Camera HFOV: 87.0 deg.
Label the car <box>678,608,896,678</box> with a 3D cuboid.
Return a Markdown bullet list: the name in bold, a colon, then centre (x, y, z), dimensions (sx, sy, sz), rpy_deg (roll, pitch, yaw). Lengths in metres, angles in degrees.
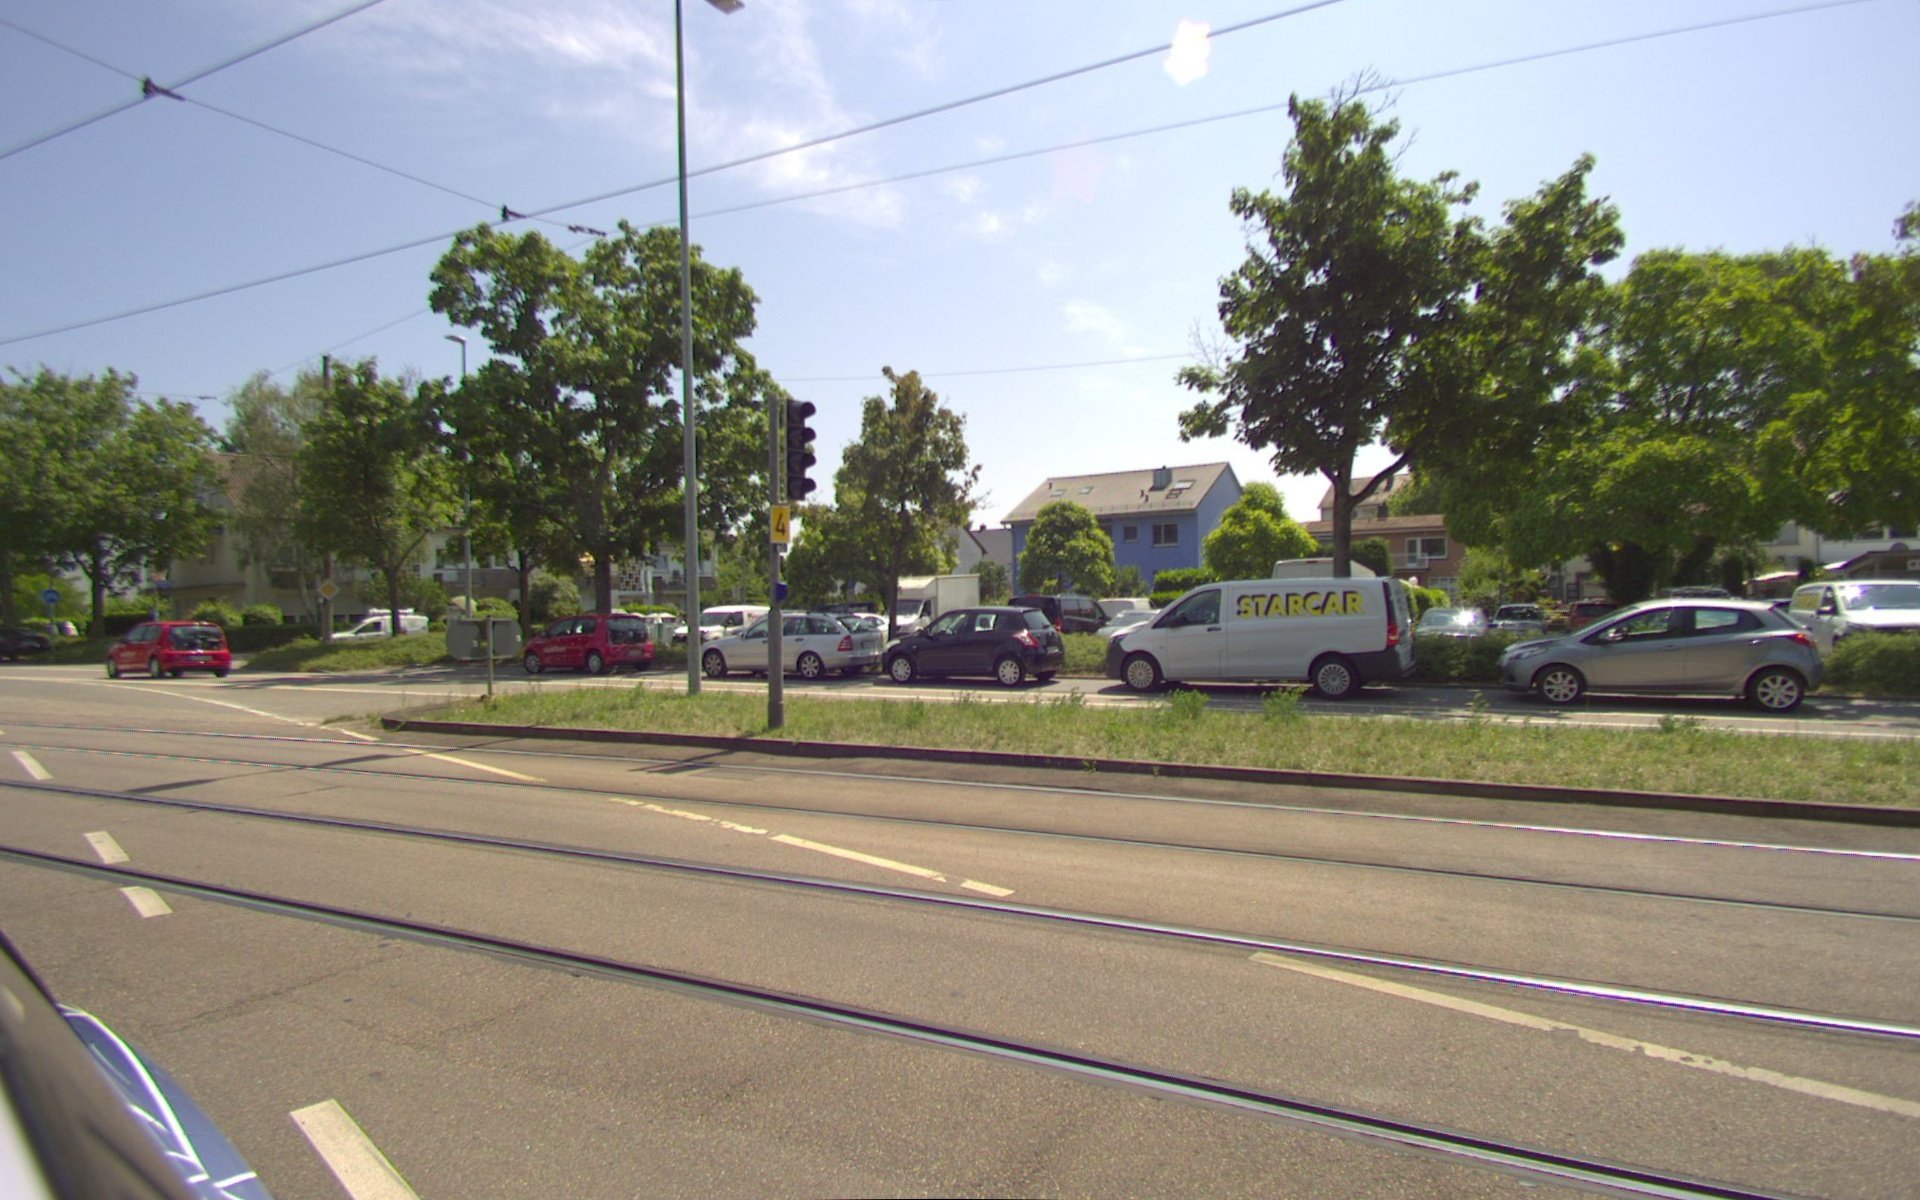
- **car**: centre (-3.885, 0.933, 22.521), dimensions (4.748, 1.438, 1.708), rpy_deg (-1, -1, 28)

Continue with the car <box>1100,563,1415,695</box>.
- **car**: centre (4.947, 0.479, 17.096), dimensions (4.789, 1.952, 1.848), rpy_deg (-1, -1, 32)

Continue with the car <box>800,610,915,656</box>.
- **car**: centre (-3.518, 1.113, 35.328), dimensions (1.925, 1.520, 4.092), rpy_deg (-1, -1, 31)

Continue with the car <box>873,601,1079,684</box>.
- **car**: centre (0.281, 0.803, 19.945), dimensions (3.771, 1.496, 1.602), rpy_deg (-1, -1, 32)

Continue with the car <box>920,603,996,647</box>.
- **car**: centre (-0.043, 1.113, 45.684), dimensions (1.640, 1.834, 4.101), rpy_deg (-2, 0, 28)

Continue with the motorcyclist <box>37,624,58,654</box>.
- **motorcyclist**: centre (-47.753, 2.039, 52.968), dimensions (0.722, 1.514, 0.582), rpy_deg (-2, 2, 30)

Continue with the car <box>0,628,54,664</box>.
- **car**: centre (-41.801, 2.001, 44.064), dimensions (4.785, 1.467, 1.883), rpy_deg (-2, 0, 27)

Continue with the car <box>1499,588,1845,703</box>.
- **car**: centre (9.827, 0.617, 14.331), dimensions (3.824, 1.451, 1.395), rpy_deg (-1, -1, 30)

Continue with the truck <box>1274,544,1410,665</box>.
- **truck**: centre (10.031, 0.143, 26.260), dimensions (2.422, 2.780, 5.539), rpy_deg (-1, -1, 30)

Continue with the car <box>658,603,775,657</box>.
- **car**: centre (-8.730, 1.045, 36.618), dimensions (1.666, 1.849, 4.237), rpy_deg (-1, -1, 30)

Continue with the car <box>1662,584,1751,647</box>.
- **car**: centre (23.496, 0.454, 31.981), dimensions (1.772, 1.834, 4.098), rpy_deg (-2, 0, 31)

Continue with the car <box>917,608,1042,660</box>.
- **car**: centre (0.698, 1.007, 31.833), dimensions (2.048, 1.500, 4.732), rpy_deg (-1, -1, 28)

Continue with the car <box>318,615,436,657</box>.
- **car**: centre (-25.509, 1.540, 44.375), dimensions (1.742, 1.719, 4.174), rpy_deg (-2, -2, 44)

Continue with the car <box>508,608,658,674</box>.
- **car**: centre (-9.557, 1.011, 25.595), dimensions (3.714, 1.558, 1.659), rpy_deg (-1, -1, 32)

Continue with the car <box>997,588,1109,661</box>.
- **car**: centre (2.832, 0.693, 30.073), dimensions (1.848, 2.010, 4.184), rpy_deg (-1, -1, 28)

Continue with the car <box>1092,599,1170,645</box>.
- **car**: centre (7.146, 0.896, 41.996), dimensions (1.962, 1.834, 4.101), rpy_deg (-1, -1, 28)

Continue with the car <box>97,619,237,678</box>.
- **car**: centre (-20.810, 1.240, 26.544), dimensions (3.590, 1.420, 1.646), rpy_deg (-1, -1, 29)

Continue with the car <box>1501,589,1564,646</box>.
- **car**: centre (19.924, 0.599, 35.205), dimensions (1.772, 1.834, 4.098), rpy_deg (-1, -1, 31)

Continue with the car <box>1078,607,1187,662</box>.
- **car**: centre (4.977, 0.936, 28.796), dimensions (1.848, 1.422, 4.184), rpy_deg (-1, -1, 28)

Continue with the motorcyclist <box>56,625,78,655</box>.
- **motorcyclist**: centre (-45.782, 2.062, 51.895), dimensions (0.659, 1.514, 0.582), rpy_deg (-2, 2, 30)

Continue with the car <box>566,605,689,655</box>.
- **car**: centre (-13.016, 1.142, 39.907), dimensions (2.052, 1.871, 4.419), rpy_deg (-1, -1, 29)

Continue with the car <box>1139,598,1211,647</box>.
- **car**: centre (8.685, 0.869, 40.718), dimensions (1.732, 1.834, 4.101), rpy_deg (-2, 0, 28)

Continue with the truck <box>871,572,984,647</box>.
- **truck**: centre (-1.392, 0.431, 47.629), dimensions (2.140, 3.252, 6.935), rpy_deg (-2, 0, 27)

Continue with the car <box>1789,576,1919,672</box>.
- **car**: centre (19.181, 0.472, 21.231), dimensions (1.788, 1.827, 4.689), rpy_deg (-2, -1, 27)

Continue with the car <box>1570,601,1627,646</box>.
- **car**: centre (21.633, 0.778, 34.387), dimensions (1.504, 1.414, 4.097), rpy_deg (-1, -1, 31)

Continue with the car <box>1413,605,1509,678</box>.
- **car**: centre (12.297, 0.954, 24.710), dimensions (1.790, 1.615, 4.348), rpy_deg (-2, -1, 30)
